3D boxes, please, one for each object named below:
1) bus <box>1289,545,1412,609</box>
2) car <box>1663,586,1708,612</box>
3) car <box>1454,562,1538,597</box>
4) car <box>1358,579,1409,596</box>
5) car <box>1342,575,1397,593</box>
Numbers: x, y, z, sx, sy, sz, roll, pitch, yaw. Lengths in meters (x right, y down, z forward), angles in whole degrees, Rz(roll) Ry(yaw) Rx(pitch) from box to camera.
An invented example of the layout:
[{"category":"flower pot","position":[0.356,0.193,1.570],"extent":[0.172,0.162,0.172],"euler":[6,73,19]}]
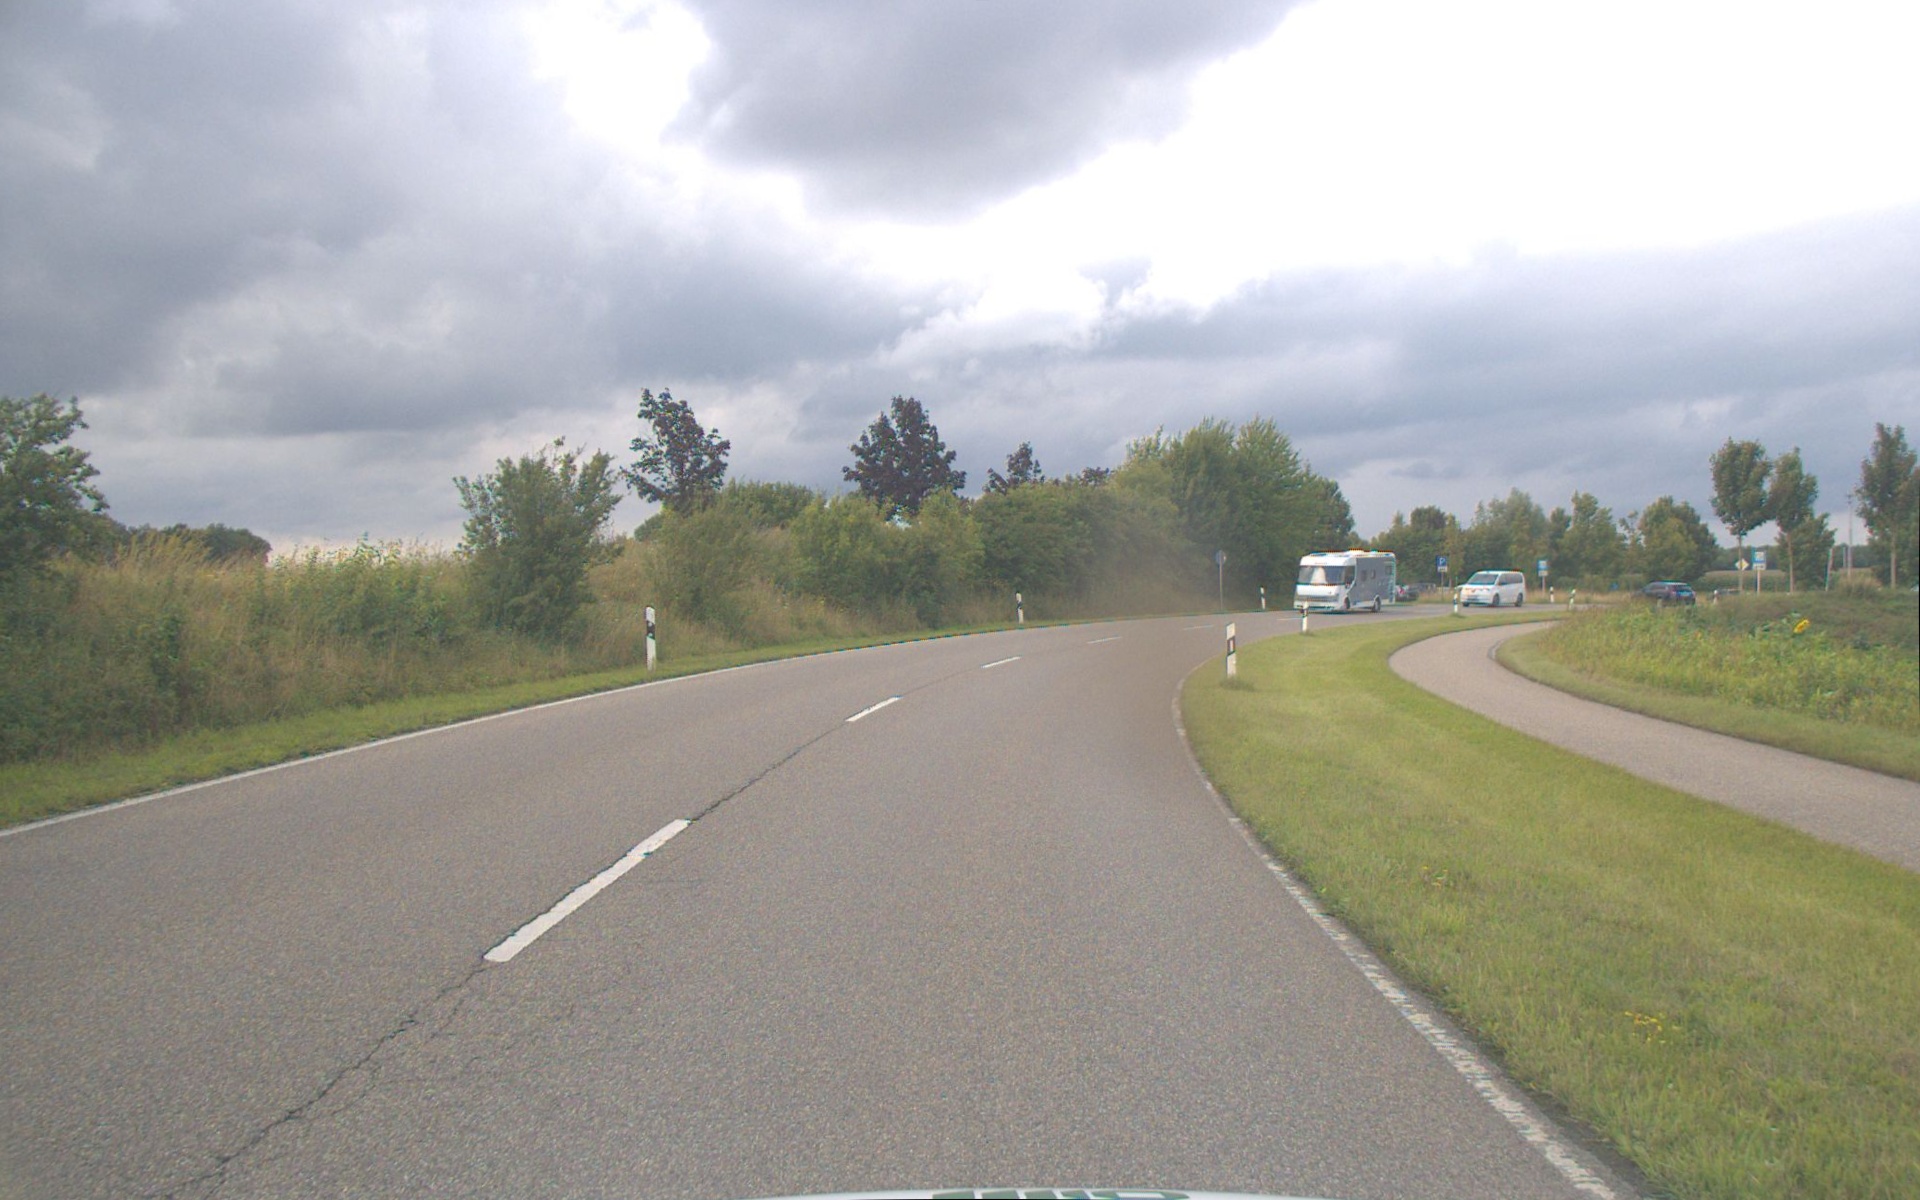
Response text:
[{"category":"bus","position":[18.109,-1.049,76.255],"extent":[2.434,2.758,8.396],"euler":[0,1,37]},{"category":"car","position":[40.172,-0.070,91.643],"extent":[1.802,1.442,4.003],"euler":[0,1,17]},{"category":"car","position":[29.430,-1.130,90.794],"extent":[5.141,1.901,2.088],"euler":[-1,1,-41]},{"category":"car","position":[34.698,-1.005,135.626],"extent":[3.905,1.404,1.476],"euler":[0,0,22]},{"category":"car","position":[32.612,-1.291,131.649],"extent":[3.918,1.404,1.818],"euler":[0,1,34]}]
